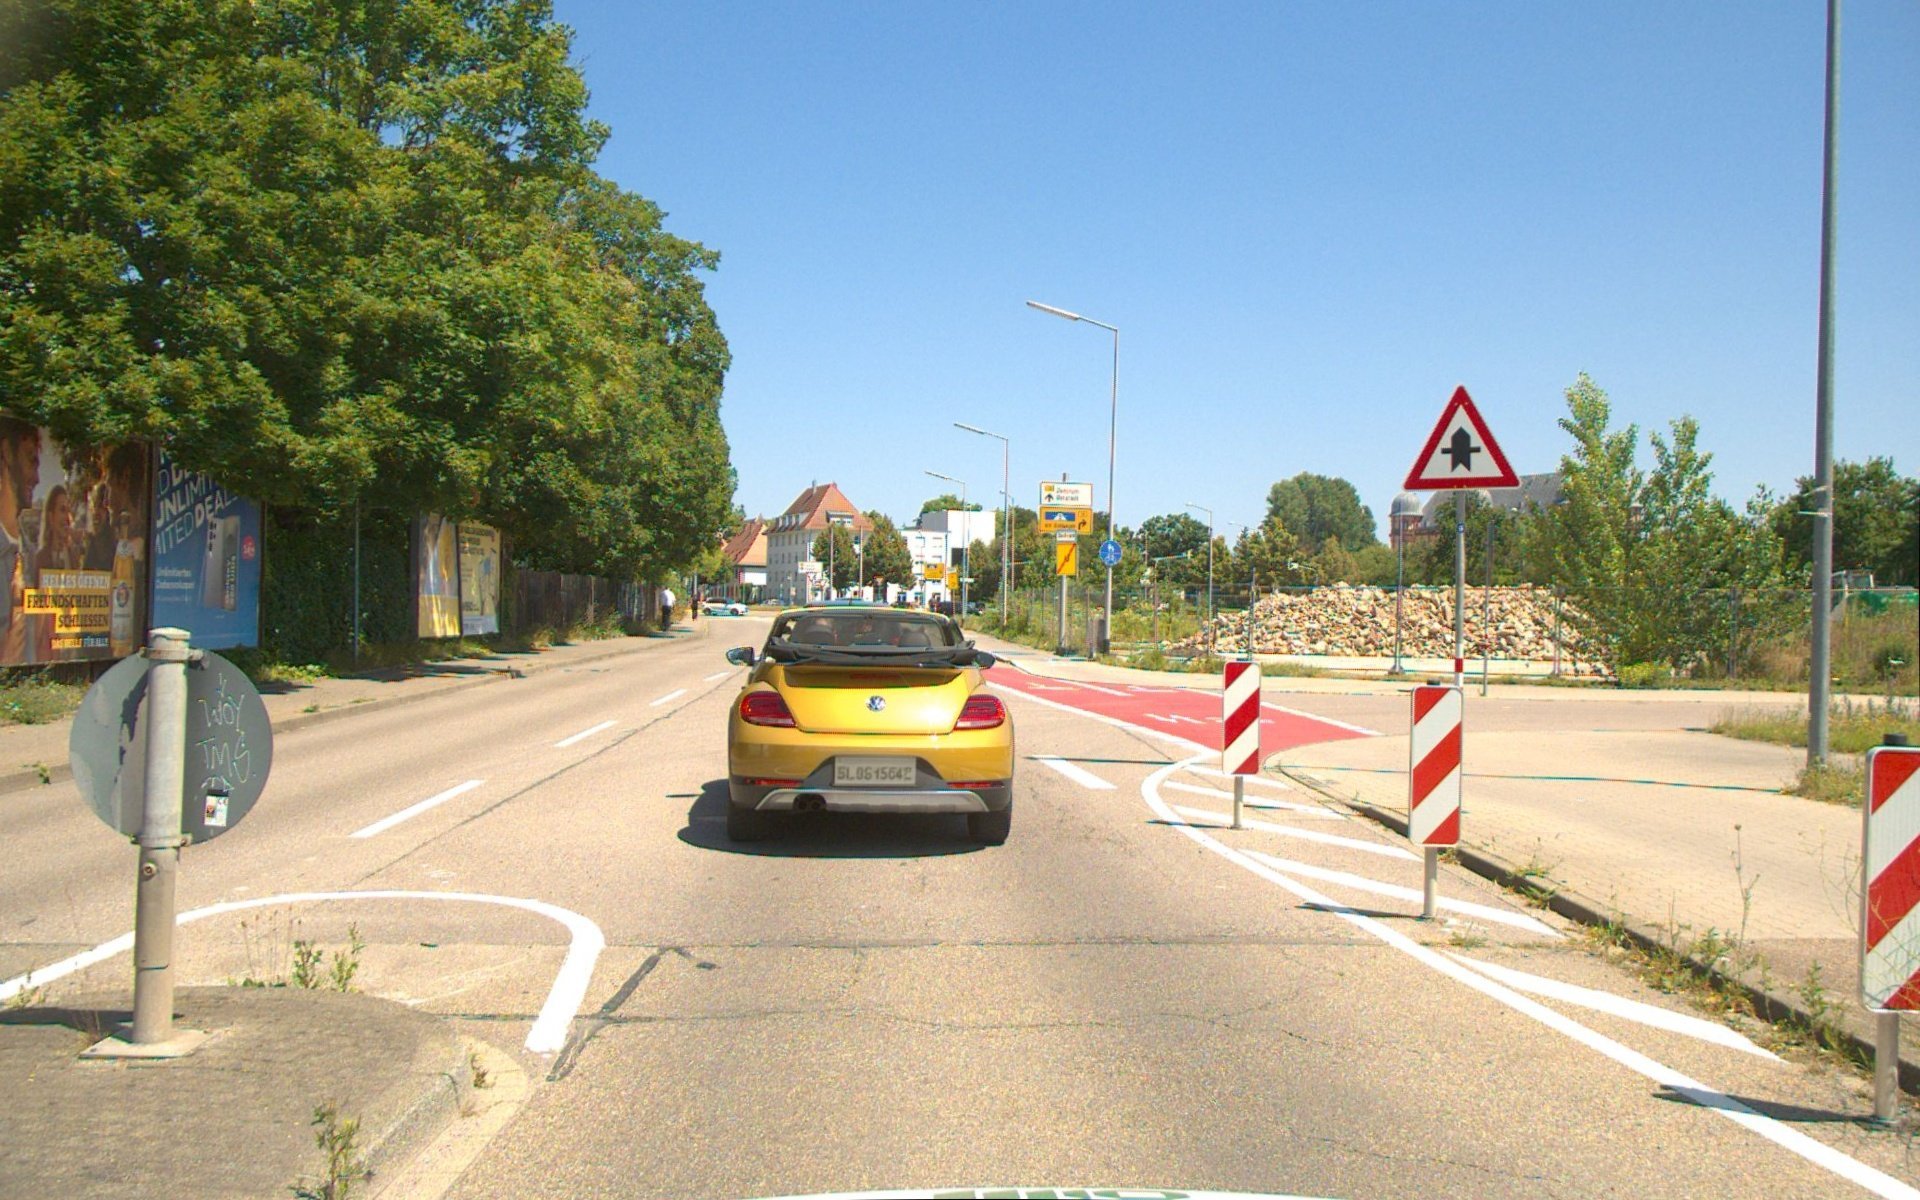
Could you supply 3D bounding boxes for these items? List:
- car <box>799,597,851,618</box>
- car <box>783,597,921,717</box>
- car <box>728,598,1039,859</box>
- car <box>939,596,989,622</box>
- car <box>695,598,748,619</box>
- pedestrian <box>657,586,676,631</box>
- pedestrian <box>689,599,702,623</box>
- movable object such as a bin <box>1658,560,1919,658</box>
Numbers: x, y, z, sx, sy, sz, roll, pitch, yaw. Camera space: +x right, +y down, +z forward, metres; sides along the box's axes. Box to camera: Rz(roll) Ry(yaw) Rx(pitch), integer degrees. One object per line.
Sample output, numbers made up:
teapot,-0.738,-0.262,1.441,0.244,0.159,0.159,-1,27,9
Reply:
car,-10.857,0.610,132.961,3.902,1.641,1.792,1,0,6
car,-1.457,0.712,22.535,1.692,1.468,3.997,1,0,-3
car,-0.598,0.737,11.319,1.755,1.462,3.809,1,0,-5
car,0.339,0.713,134.930,3.903,2.049,2.001,1,0,4
car,-19.876,0.679,137.762,3.977,1.706,1.786,1,0,9
pedestrian,-11.592,0.343,65.326,0.709,1.755,0.817,1,0,-8
pedestrian,-16.553,0.705,103.548,0.709,1.480,0.817,1,0,-8
movable object such as a bin,31.328,0.343,62.405,4.843,3.317,10.457,1,0,-5
